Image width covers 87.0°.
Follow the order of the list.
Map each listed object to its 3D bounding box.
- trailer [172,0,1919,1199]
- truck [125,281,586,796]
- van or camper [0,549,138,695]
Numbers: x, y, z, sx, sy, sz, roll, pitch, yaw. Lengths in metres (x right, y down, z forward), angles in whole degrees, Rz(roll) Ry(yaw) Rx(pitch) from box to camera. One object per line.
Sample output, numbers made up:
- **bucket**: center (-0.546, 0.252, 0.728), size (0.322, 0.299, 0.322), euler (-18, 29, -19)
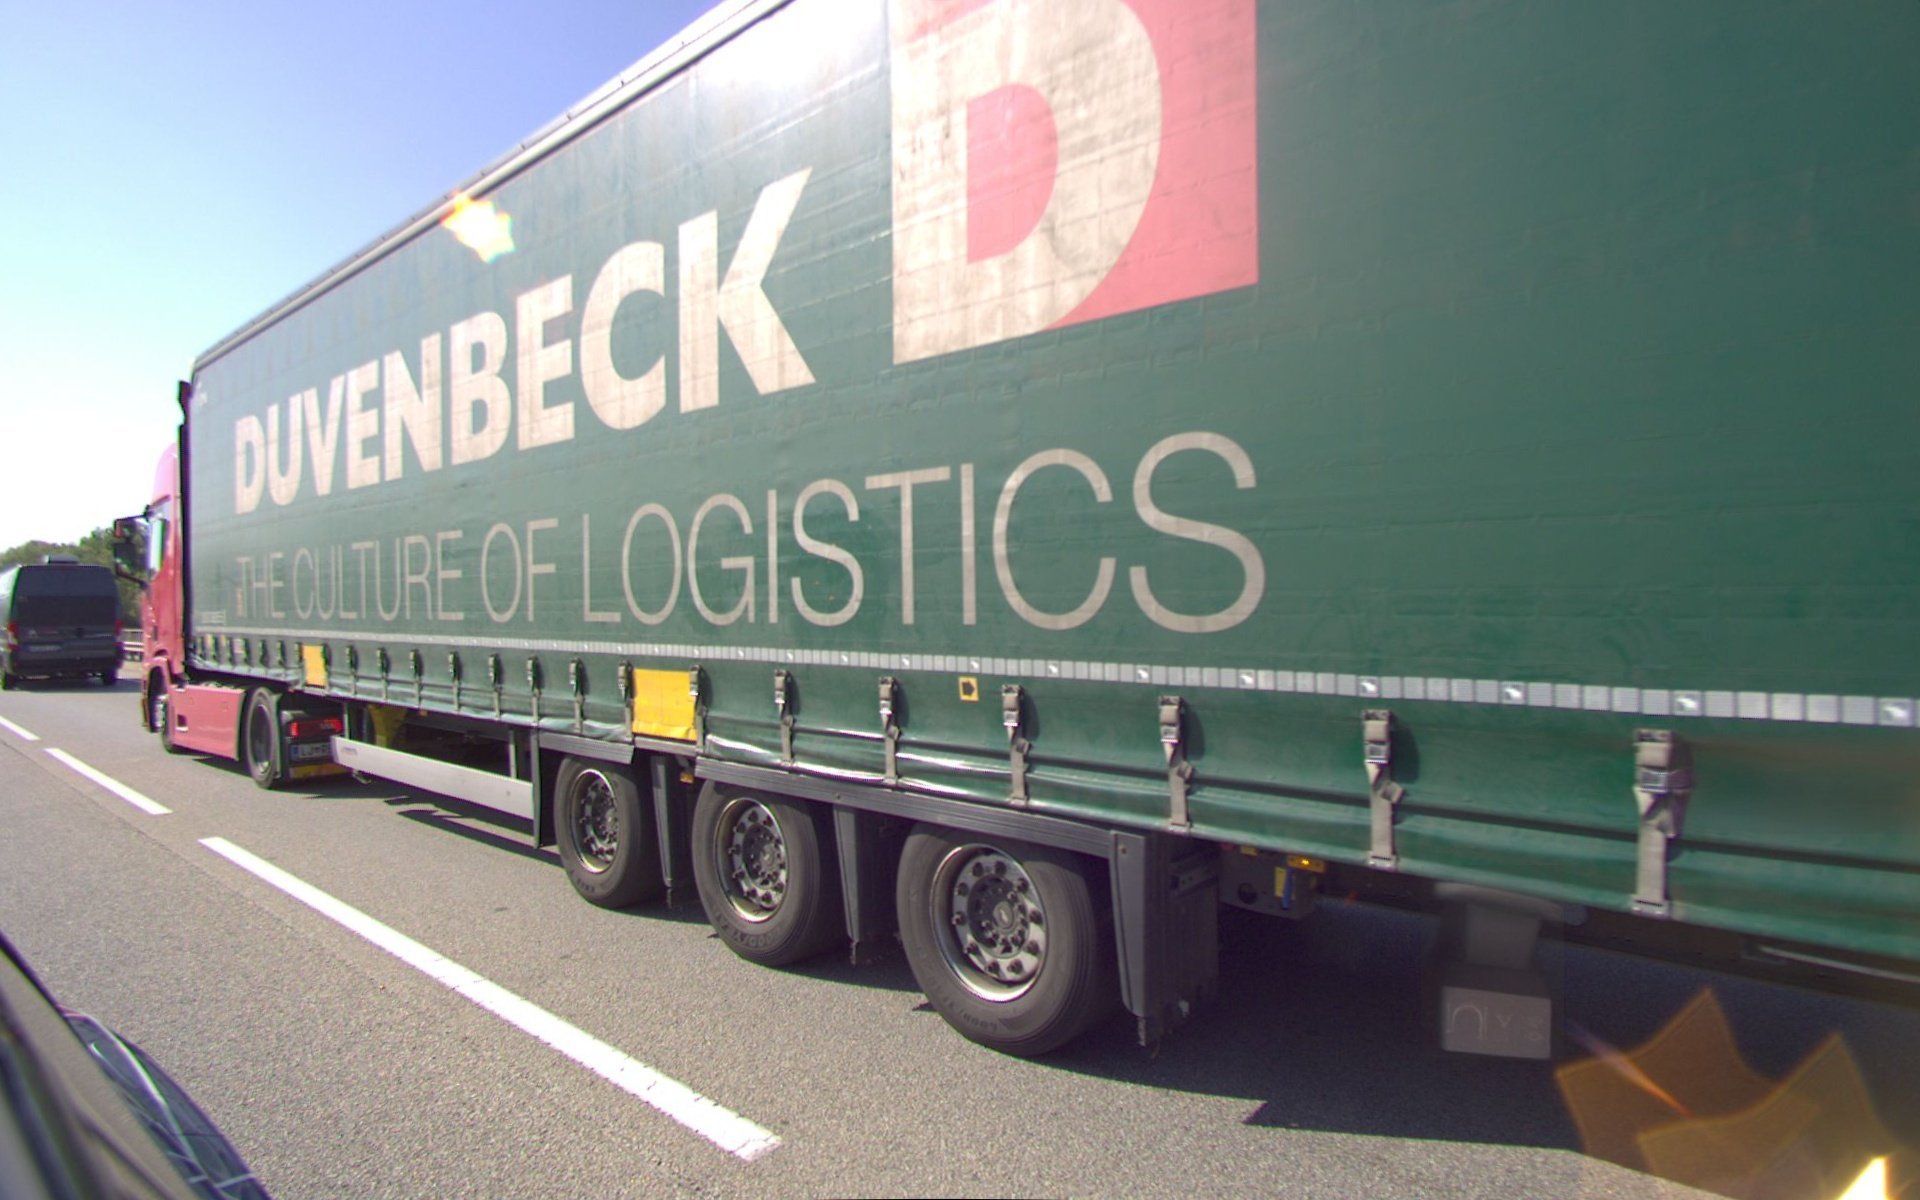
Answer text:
- **trailer**: center (-1.632, -0.651, 6.572), size (14.294, 4.335, 2.877), euler (-2, -1, 41)
- **truck**: center (-6.925, -0.448, 11.276), size (5.712, 4.216, 2.877), euler (-2, -1, 42)
- **van or camper**: center (-21.944, 0.533, 24.440), size (6.816, 3.074, 2.290), euler (-2, -1, 42)
